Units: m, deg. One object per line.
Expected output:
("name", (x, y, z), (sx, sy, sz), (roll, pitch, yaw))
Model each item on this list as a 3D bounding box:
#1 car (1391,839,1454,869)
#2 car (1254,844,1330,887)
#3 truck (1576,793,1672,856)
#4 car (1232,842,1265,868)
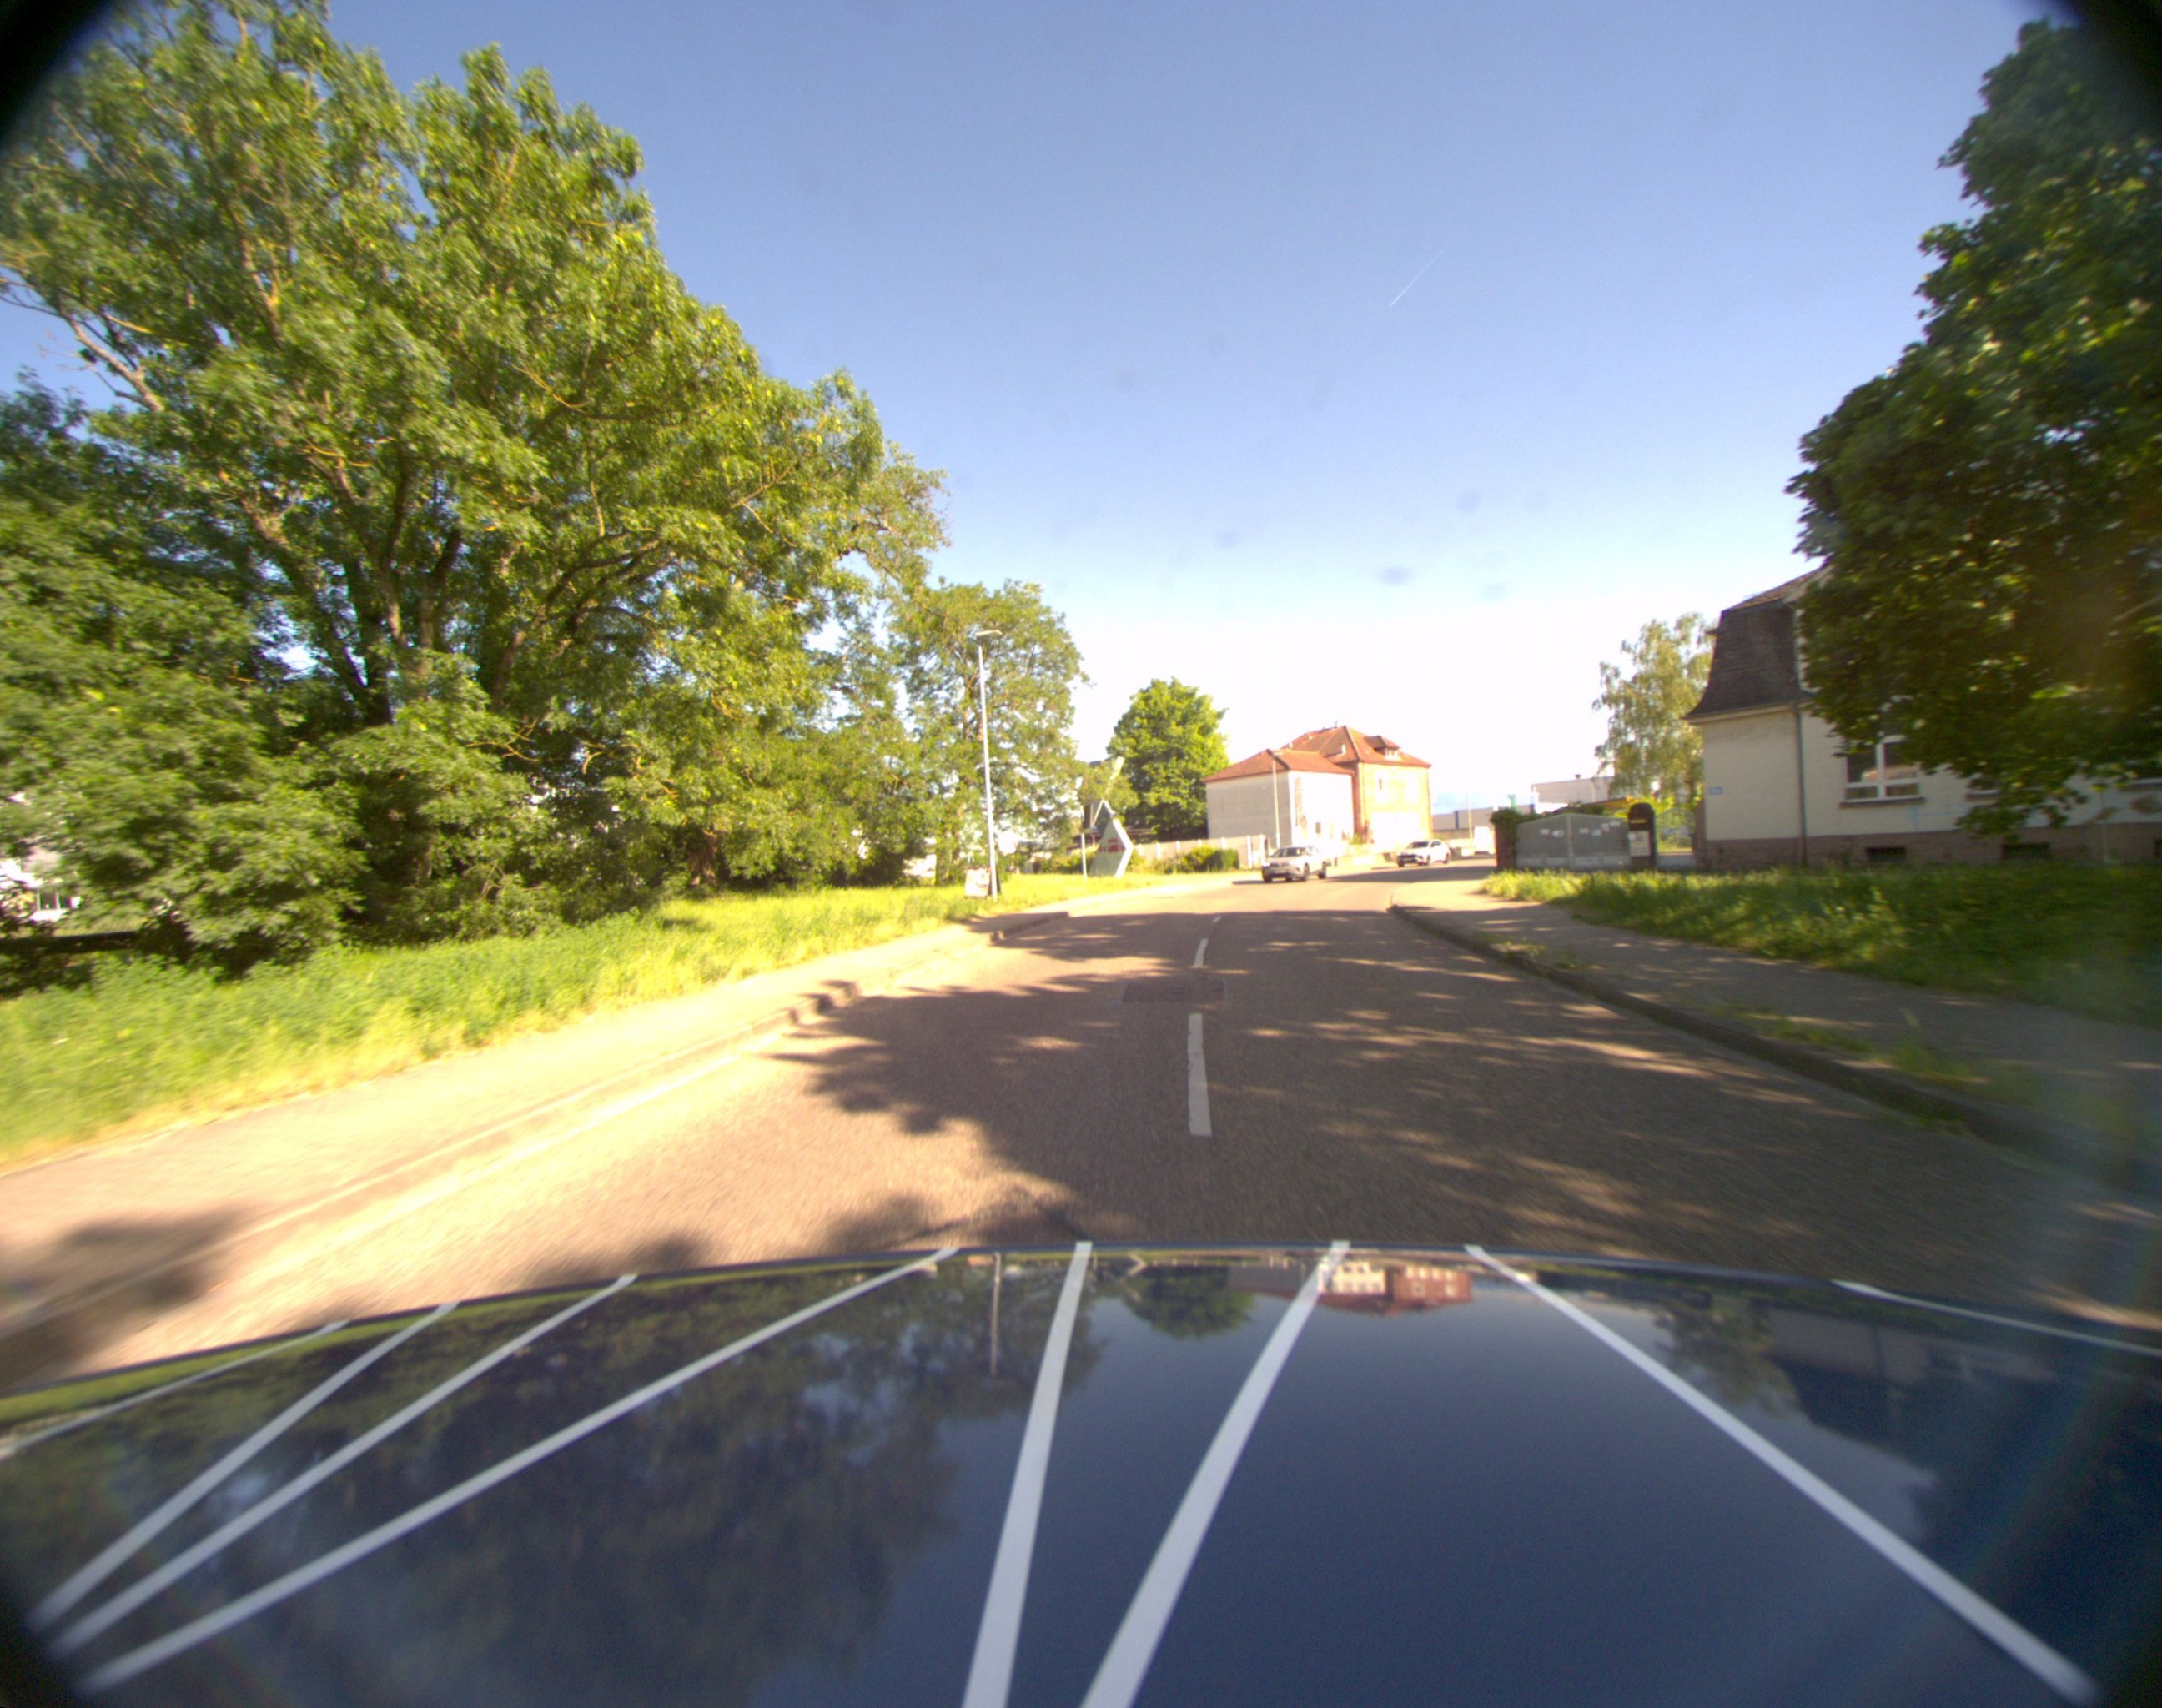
("car", (20.666, -0.018, 45.854), (4.303, 1.621, 1.847), (-3, 0, -42))
("car", (9.469, 0.474, 33.854), (1.847, 1.621, 4.303), (-5, -1, 34))
("truck", (36.797, -2.009, 51.391), (8.021, 3.596, 2.845), (-3, -5, -39))
("car", (12.599, 0.050, 57.217), (1.997, 1.767, 4.368), (-3, 0, 8))
